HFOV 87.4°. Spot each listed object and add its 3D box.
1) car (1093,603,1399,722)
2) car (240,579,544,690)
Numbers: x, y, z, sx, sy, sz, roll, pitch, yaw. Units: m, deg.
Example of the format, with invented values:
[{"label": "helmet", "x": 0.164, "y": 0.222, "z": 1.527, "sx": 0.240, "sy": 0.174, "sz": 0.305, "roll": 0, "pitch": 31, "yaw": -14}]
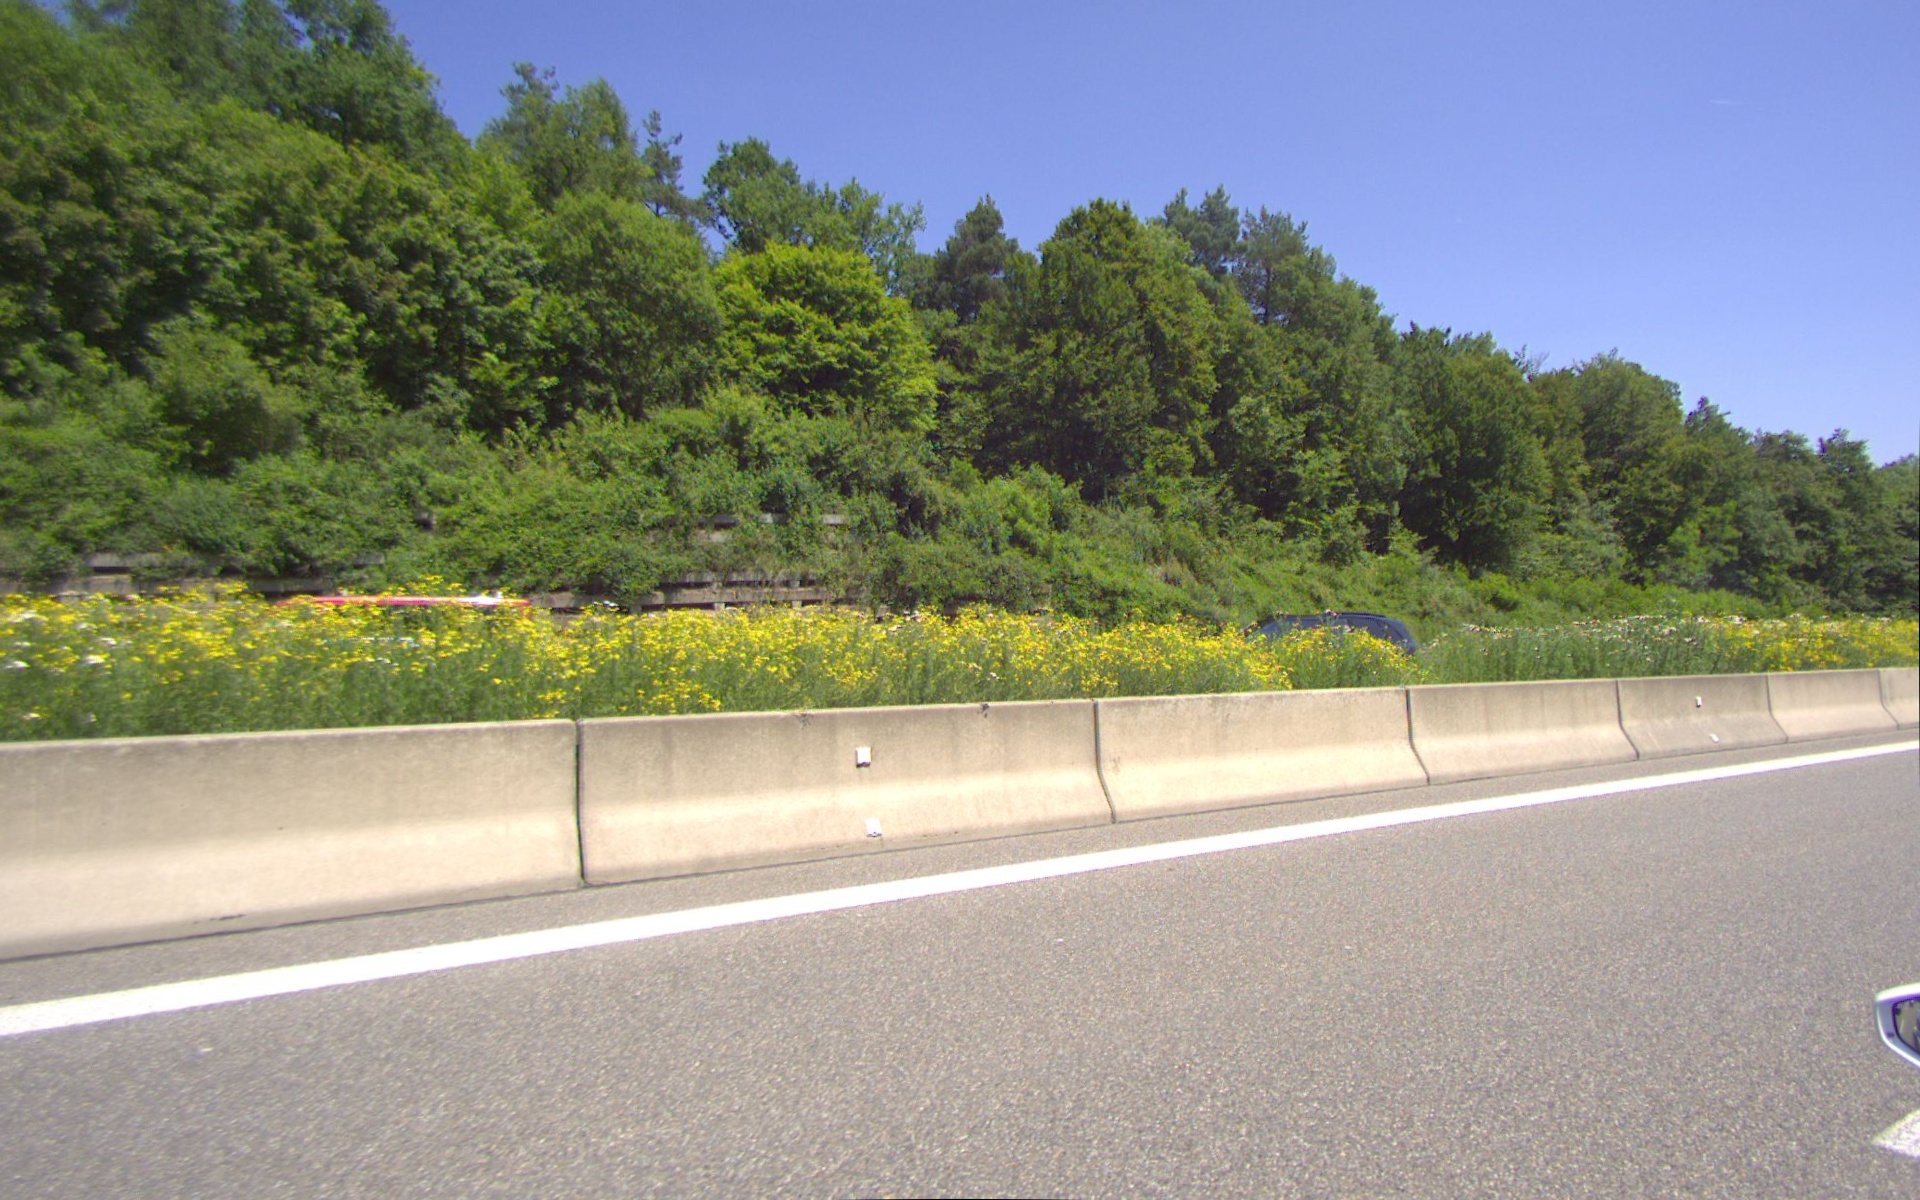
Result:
[{"label": "car", "x": 4.305, "y": 0.859, "z": 14.912, "sx": 4.534, "sy": 1.542, "sz": 1.779, "roll": 1, "pitch": -2, "yaw": -31}, {"label": "car", "x": -10.267, "y": 0.618, "z": 18.500, "sx": 4.598, "sy": 1.832, "sz": 1.985, "roll": 2, "pitch": 0, "yaw": -29}]
